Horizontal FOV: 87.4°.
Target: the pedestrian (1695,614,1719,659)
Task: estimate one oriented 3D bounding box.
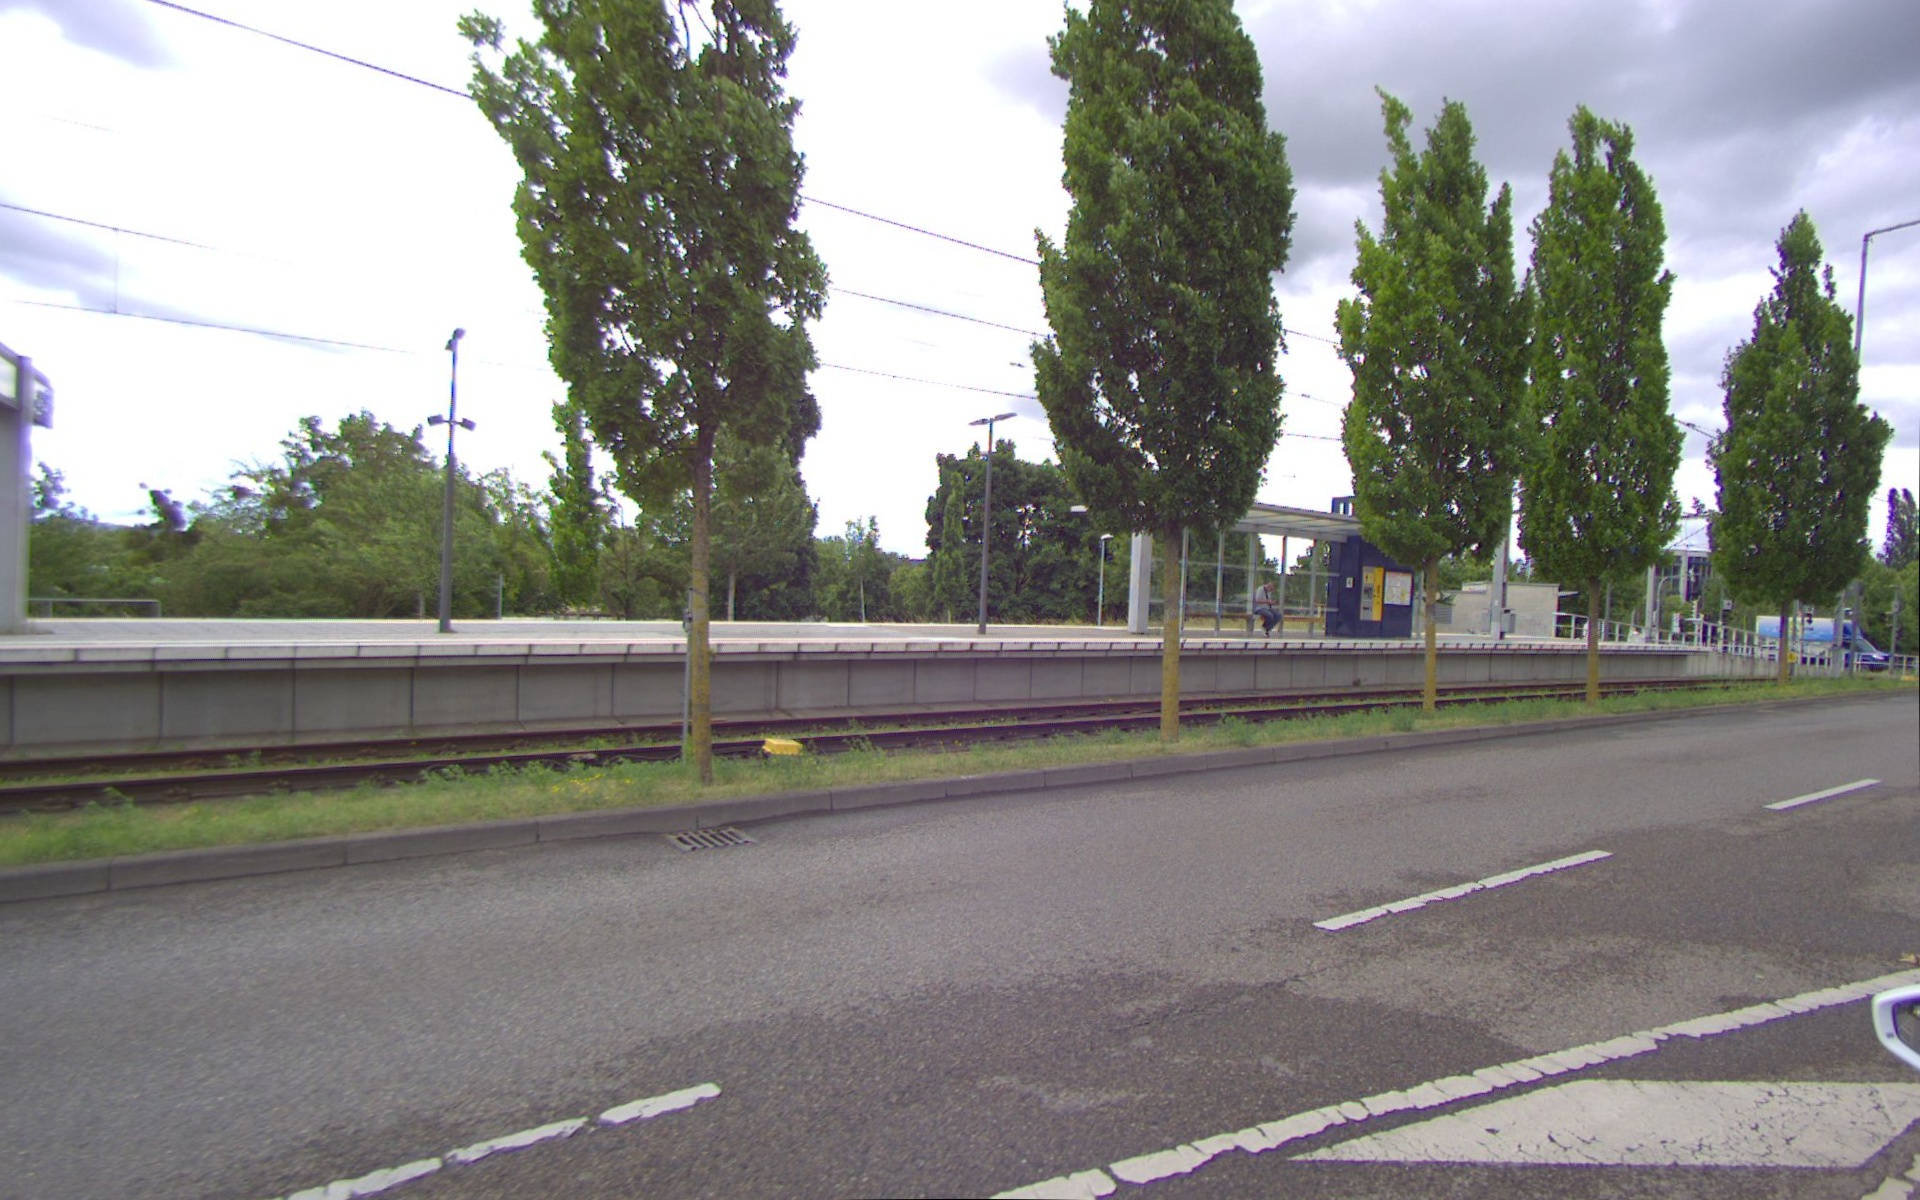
[{"bbox_3d":[31.560,1.556,42.427,0.785,1.852,0.568,2,0,-35],"label":"pedestrian"}]

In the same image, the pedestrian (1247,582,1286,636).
[{"bbox_3d":[7.326,0.210,24.019,0.653,1.286,0.605,-1,1,-36],"label":"pedestrian"}]

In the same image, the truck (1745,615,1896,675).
[{"bbox_3d":[57.091,2.886,66.849,2.663,3.647,7.198,-1,1,-33],"label":"truck"}]
